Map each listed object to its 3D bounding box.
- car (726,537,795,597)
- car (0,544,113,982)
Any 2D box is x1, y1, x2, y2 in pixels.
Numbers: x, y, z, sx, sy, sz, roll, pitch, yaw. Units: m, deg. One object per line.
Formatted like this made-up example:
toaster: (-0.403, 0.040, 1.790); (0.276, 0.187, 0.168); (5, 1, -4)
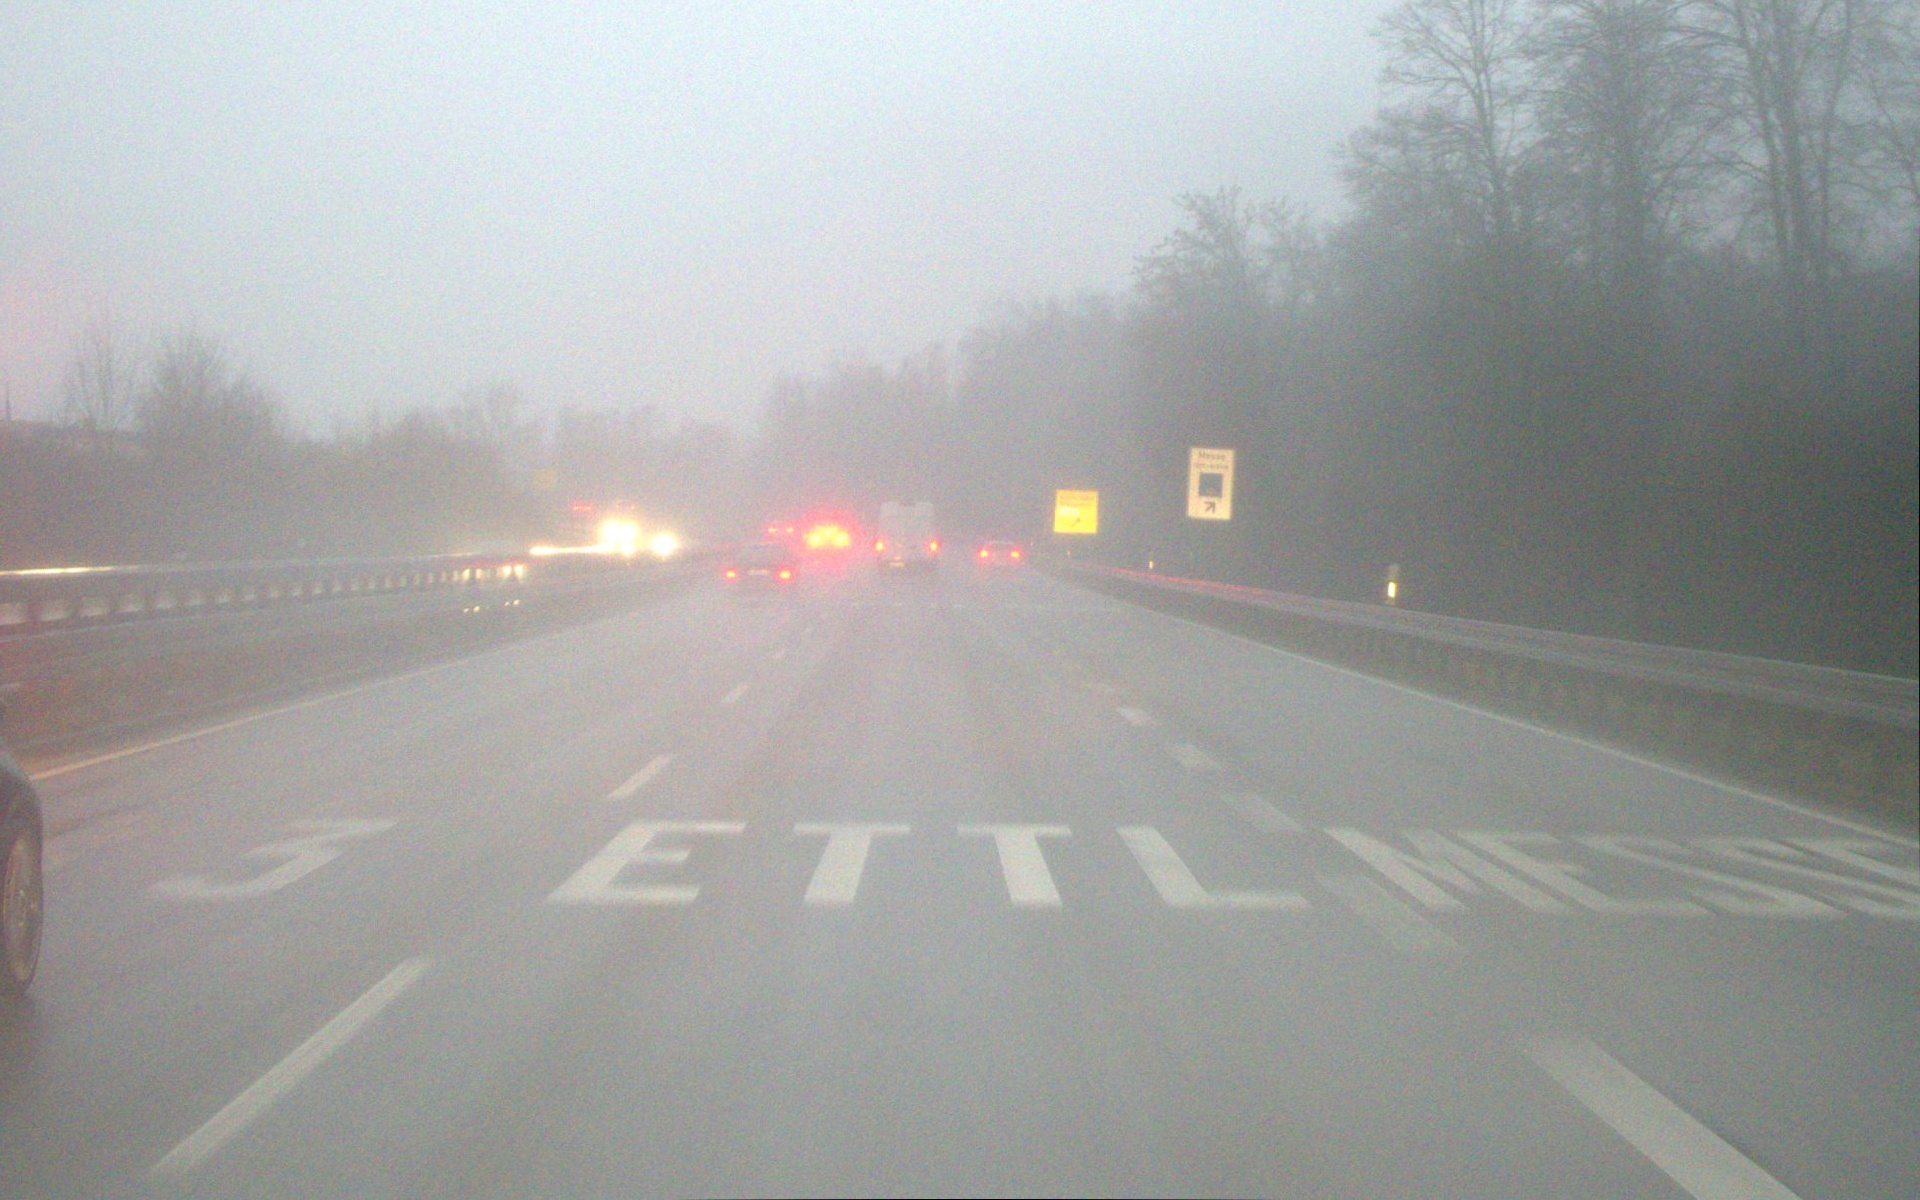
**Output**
car: (-4.634, -0.774, 80.192); (1.416, 1.312, 3.083); (2, 1, -1)
car: (-3.827, 0.500, 10.335); (1.625, 1.387, 4.000); (2, 1, -2)
